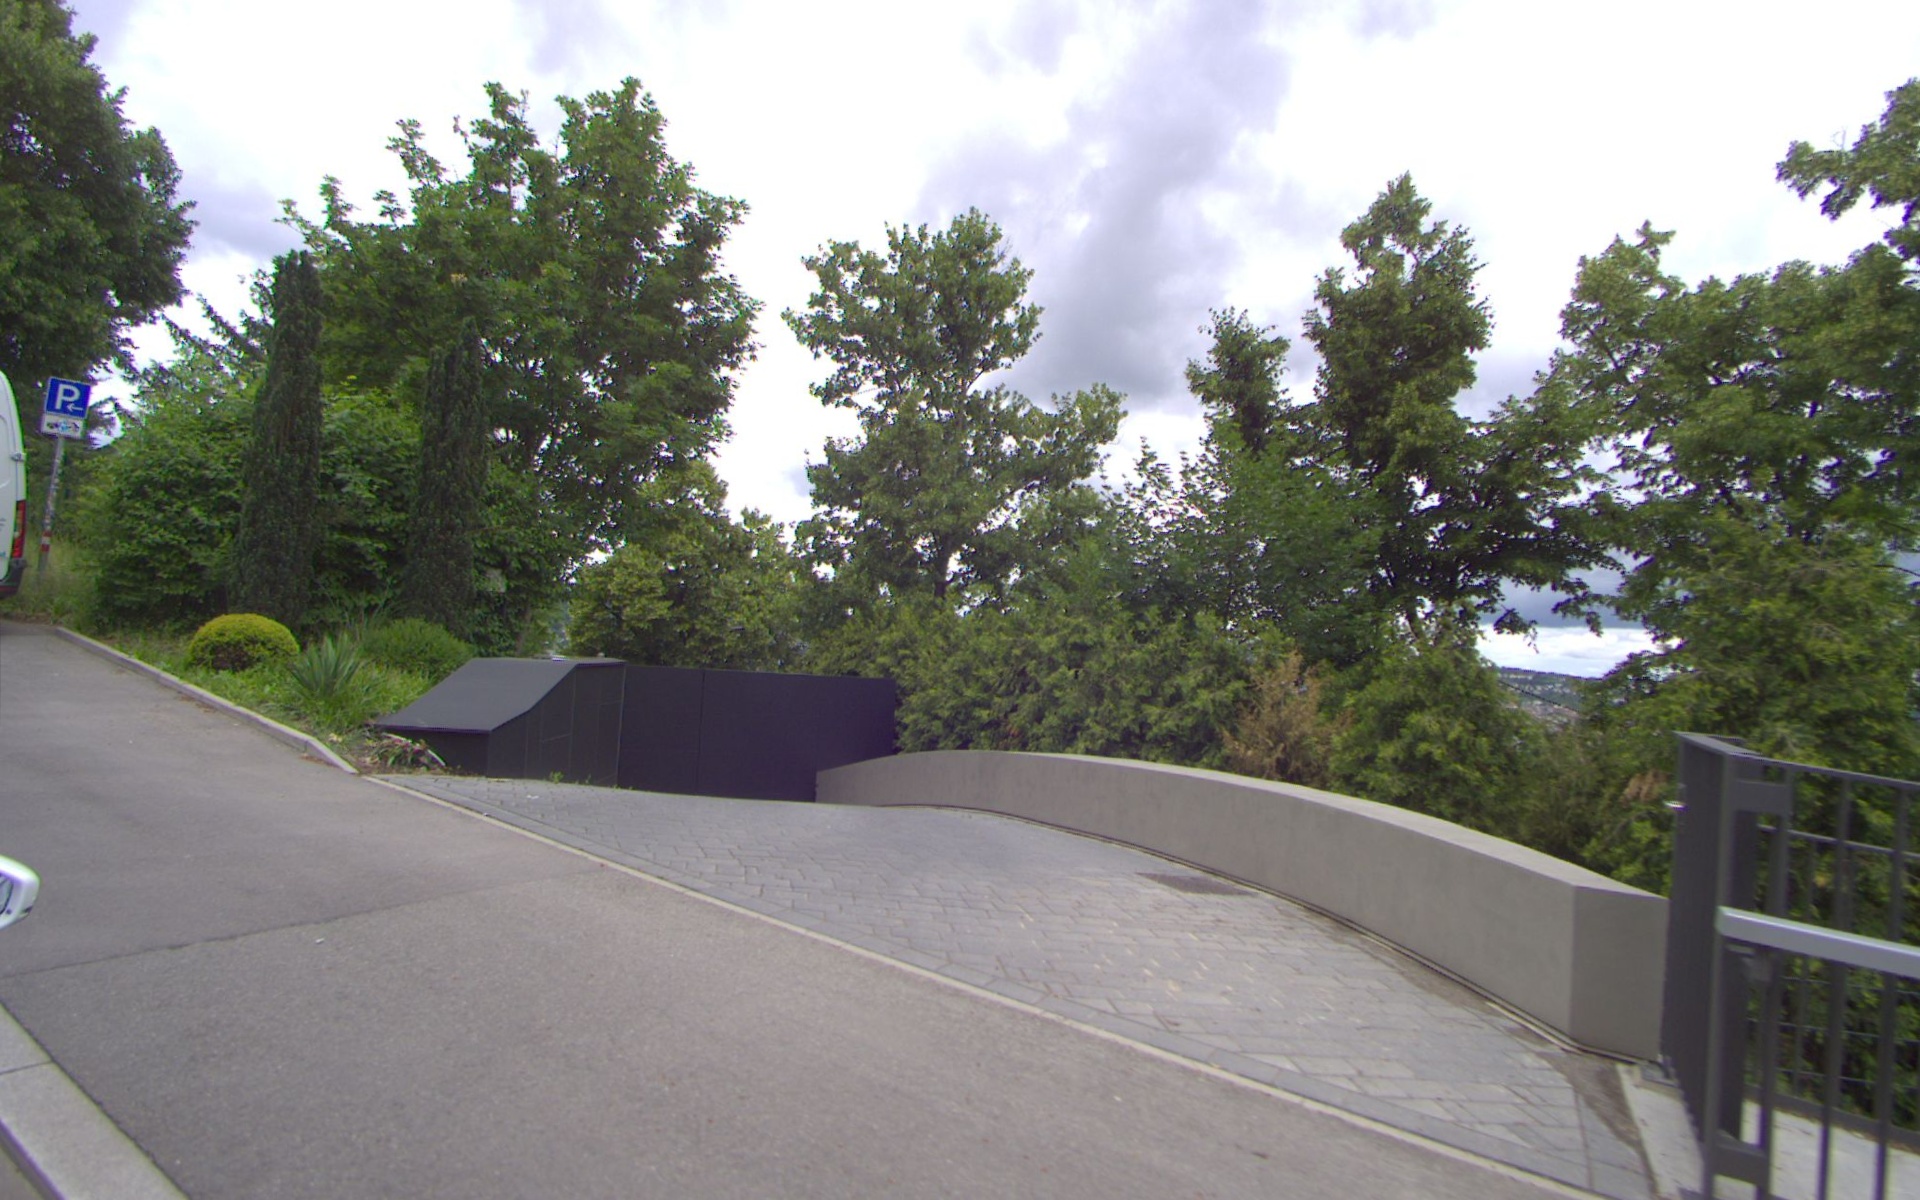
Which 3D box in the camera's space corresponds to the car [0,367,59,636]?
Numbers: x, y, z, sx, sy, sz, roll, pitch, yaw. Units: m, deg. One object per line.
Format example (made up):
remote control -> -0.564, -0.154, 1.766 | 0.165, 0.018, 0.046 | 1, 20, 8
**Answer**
car -> -11.951, -1.230, 10.625 | 5.750, 2.555, 2.085 | 6, 1, 33
